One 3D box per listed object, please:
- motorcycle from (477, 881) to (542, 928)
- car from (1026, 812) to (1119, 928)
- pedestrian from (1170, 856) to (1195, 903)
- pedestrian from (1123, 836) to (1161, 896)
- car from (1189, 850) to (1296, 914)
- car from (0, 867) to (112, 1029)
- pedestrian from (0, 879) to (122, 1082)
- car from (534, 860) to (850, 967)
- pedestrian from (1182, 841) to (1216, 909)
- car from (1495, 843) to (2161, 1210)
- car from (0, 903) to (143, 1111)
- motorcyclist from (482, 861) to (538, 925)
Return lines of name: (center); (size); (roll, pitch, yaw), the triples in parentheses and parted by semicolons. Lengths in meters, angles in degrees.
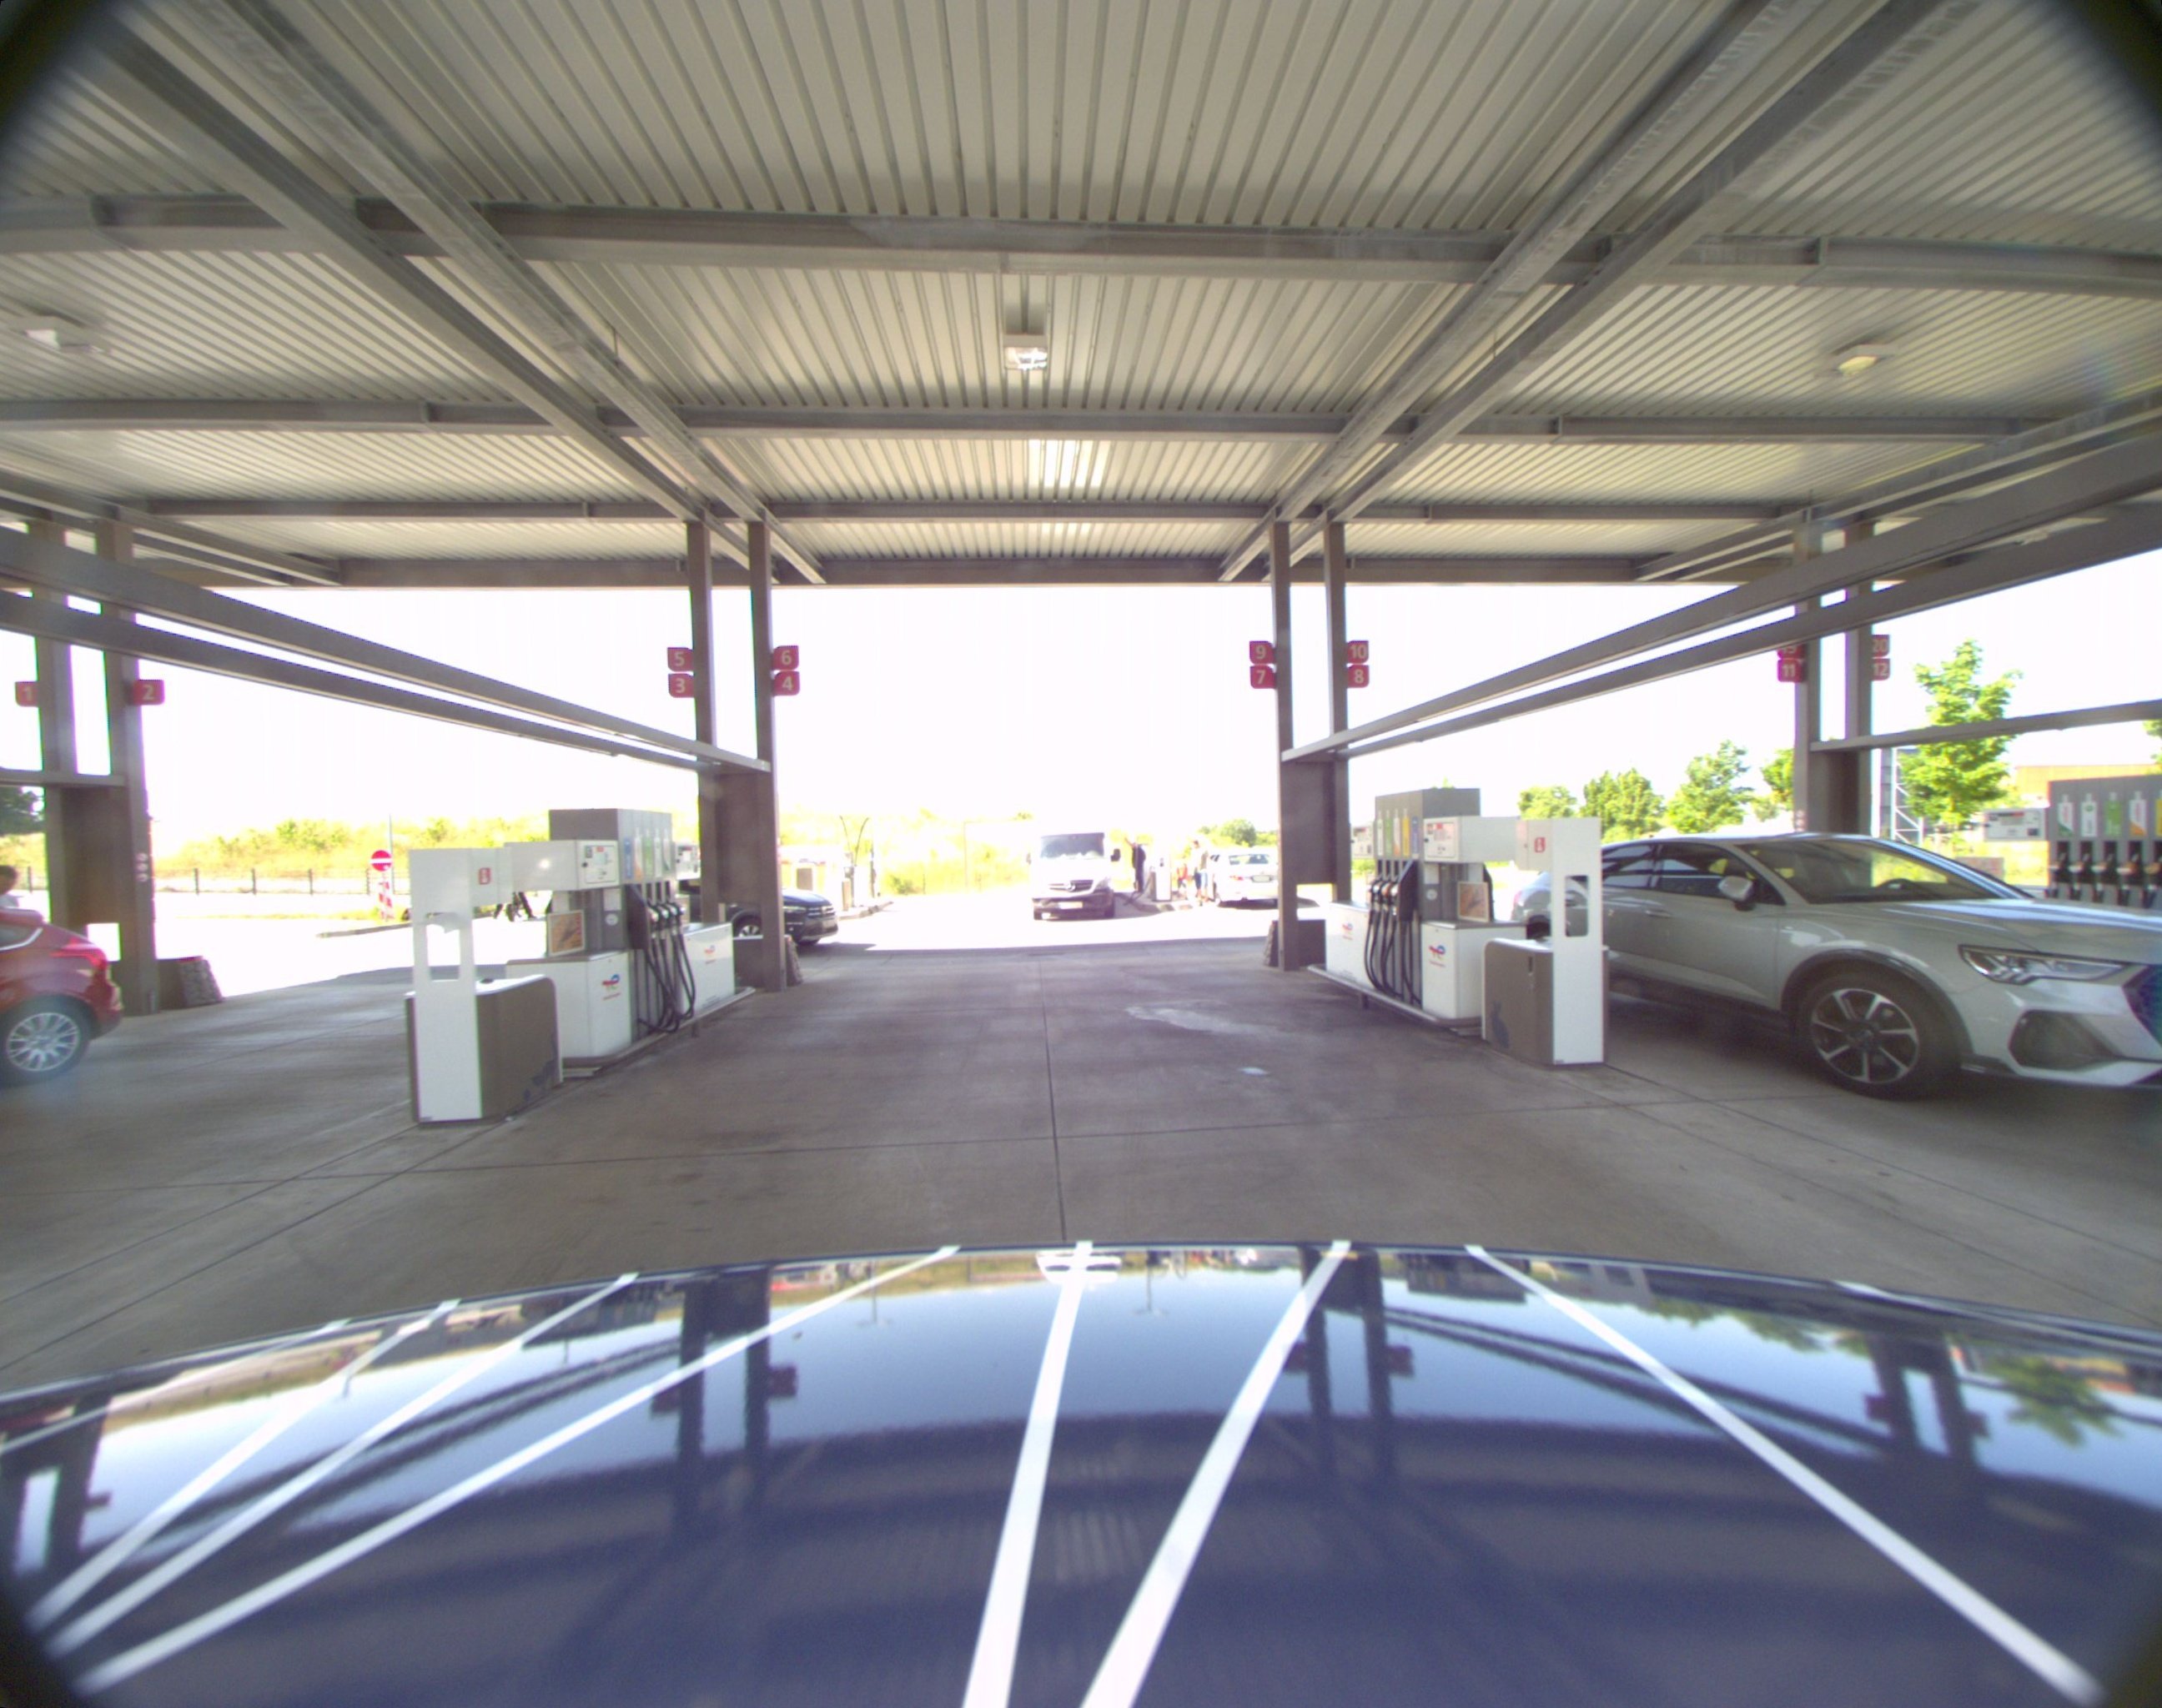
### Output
motorcycle: (-15.774, 1.358, 21.059); (1.047, 1.099, 2.410); (-2, 1, -28)
car: (-0.018, 0.205, 20.443); (1.998, 2.557, 7.029); (-1, 3, 3)
pedestrian: (2.889, 0.726, 21.664); (0.577, 1.299, 0.669); (-1, 1, -1)
pedestrian: (1.831, 0.347, 22.820); (0.843, 1.759, 0.711); (-1, 1, 43)
car: (4.243, 0.672, 20.632); (1.792, 1.420, 4.319); (-1, 2, -3)
car: (-13.257, 1.084, 7.307); (2.034, 1.840, 4.795); (-1, 0, -7)
pedestrian: (-9.503, 1.092, 6.808); (0.704, 1.693, 0.926); (-2, 1, -21)
car: (-6.564, 0.989, 13.052); (4.625, 1.635, 1.745); (-1, 1, 8)
pedestrian: (3.076, 0.531, 19.862); (0.709, 1.739, 0.845); (-1, 1, -1)
car: (5.140, 0.723, 5.449); (1.785, 1.532, 4.324); (-2, 0, -3)
car: (-8.705, 1.177, 4.277); (1.703, 1.460, 4.231); (-1, 0, -4)
motorcyclist: (-15.736, 1.056, 20.968); (1.036, 1.678, 1.096); (-2, 1, -28)
